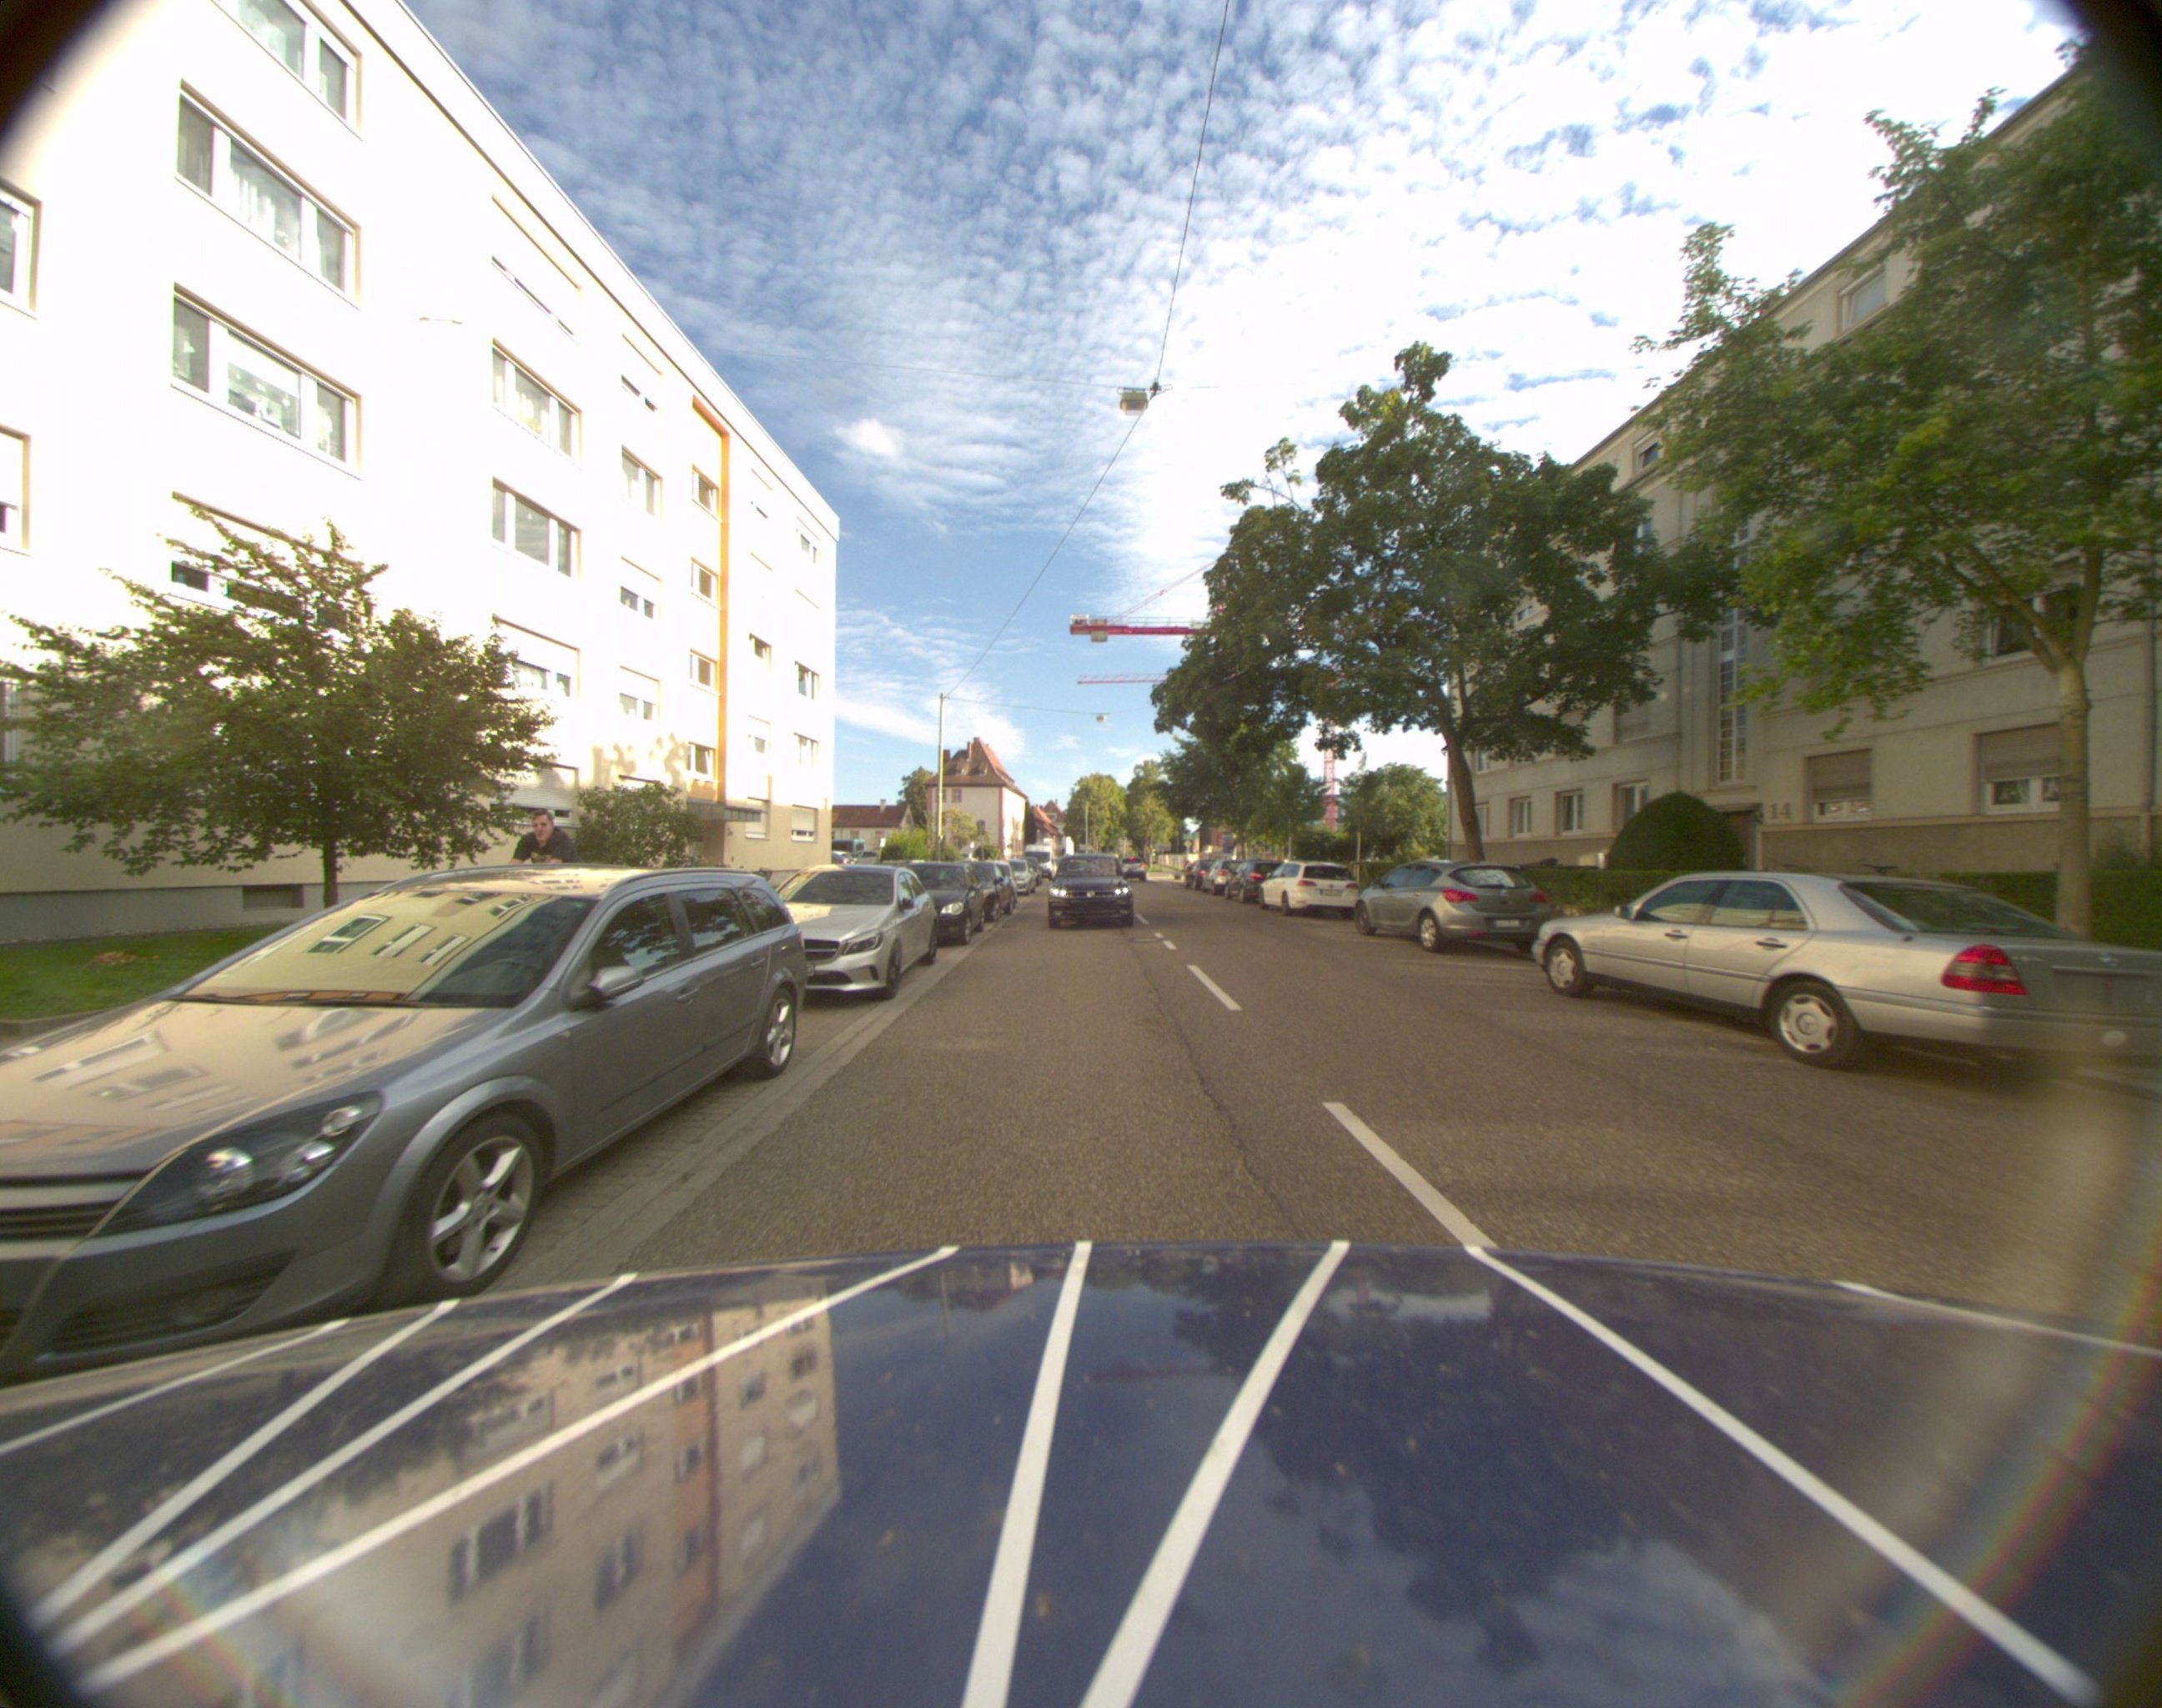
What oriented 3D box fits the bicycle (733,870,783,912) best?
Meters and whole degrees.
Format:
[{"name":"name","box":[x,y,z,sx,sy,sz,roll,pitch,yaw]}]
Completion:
[{"name":"bicycle","box":[-8.508,0.953,20.085,0.597,0.992,1.692,0,2,0]}]

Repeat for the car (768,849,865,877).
[{"name":"car","box":[-14.520,0.491,41.793,4.675,1.473,1.871,0,0,5]}]

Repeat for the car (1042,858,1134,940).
[{"name":"car","box":[0.278,0.944,17.707,1.859,1.673,4.002,-1,0,5]}]

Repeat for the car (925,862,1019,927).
[{"name":"car","box":[-2.689,0.964,19.618,1.687,1.427,4.207,1,0,1]}]

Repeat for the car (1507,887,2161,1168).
[{"name":"car","box":[5.974,1.109,6.673,1.743,1.385,4.665,3,0,-1]}]

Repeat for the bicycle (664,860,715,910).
[{"name":"bicycle","box":[-10.346,0.799,20.152,0.523,1.209,1.590,2,2,0]}]

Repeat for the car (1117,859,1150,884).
[{"name":"car","box":[3.317,1.057,48.276,1.744,1.493,4.009,-1,0,-1]}]

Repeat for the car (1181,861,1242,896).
[{"name":"car","box":[6.208,1.146,36.637,1.932,1.477,4.420,2,0,-2]}]

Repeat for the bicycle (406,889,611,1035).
[{"name":"bicycle","box":[-5.355,0.945,7.277,0.525,1.128,1.929,0,0,-1]}]

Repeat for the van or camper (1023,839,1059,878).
[{"name":"van or camper","box":[-2.787,0.304,54.237,2.165,2.512,5.914,3,0,0]}]

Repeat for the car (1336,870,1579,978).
[{"name":"car","box":[6.318,1.077,13.494,1.860,1.477,4.683,1,0,-1]}]

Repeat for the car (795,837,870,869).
[{"name":"car","box":[-17.010,-0.057,52.206,4.276,2.179,2.368,0,0,8]}]

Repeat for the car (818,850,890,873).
[{"name":"car","box":[-14.630,0.471,49.055,4.084,1.473,1.872,0,0,9]}]

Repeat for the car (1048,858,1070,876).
[{"name":"car","box":[-1.902,1.133,66.304,1.662,1.477,4.000,0,0,1]}]

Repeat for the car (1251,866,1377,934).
[{"name":"car","box":[6.130,1.139,20.650,1.860,1.477,4.798,4,0,0]}]

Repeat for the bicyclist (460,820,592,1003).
[{"name":"bicyclist","box":[-5.337,0.526,7.359,0.625,1.668,0.893,0,0,-1]}]

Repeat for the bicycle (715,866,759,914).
[{"name":"bicycle","box":[-9.068,0.931,20.082,0.446,1.130,1.590,2,2,0]}]

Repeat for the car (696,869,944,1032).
[{"name":"car","box":[-2.852,0.963,9.313,1.704,1.455,4.179,1,0,-2]}]

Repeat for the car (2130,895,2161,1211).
[{"name":"car","box":[6.036,0.977,1.196,1.860,1.477,4.944,3,0,0]}]

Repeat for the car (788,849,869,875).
[{"name":"car","box":[-14.809,0.475,44.645,4.084,1.473,1.872,0,0,9]}]

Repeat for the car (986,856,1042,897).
[{"name":"car","box":[-2.747,0.889,32.066,1.767,1.515,4.330,2,0,2]}]

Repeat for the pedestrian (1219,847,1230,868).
[{"name":"pedestrian","box":[11.951,0.301,63.209,0.743,1.758,0.775,1,0,-1]}]

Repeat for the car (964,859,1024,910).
[{"name":"car","box":[-2.757,0.928,24.870,1.688,1.459,4.205,1,0,-3]}]

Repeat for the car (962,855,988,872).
[{"name":"car","box":[-10.589,0.950,76.027,1.888,1.709,4.092,0,0,3]}]

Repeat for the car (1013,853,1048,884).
[{"name":"car","box":[-2.869,0.806,43.427,1.677,1.593,3.970,3,0,0]}]

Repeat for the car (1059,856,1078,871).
[{"name":"car","box":[-1.266,0.906,76.367,1.662,1.477,4.001,-1,0,2]}]

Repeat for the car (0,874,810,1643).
[{"name":"car","box":[-2.938,0.893,3.708,1.688,1.477,4.293,0,0,0]}]

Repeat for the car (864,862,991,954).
[{"name":"car","box":[-2.796,0.925,14.668,1.688,1.492,3.873,1,0,-1]}]

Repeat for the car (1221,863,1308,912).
[{"name":"car","box":[6.156,1.061,26.037,1.860,1.477,4.684,1,0,0]}]

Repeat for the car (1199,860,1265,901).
[{"name":"car","box":[6.173,1.050,31.518,1.825,1.477,4.369,2,0,0]}]
